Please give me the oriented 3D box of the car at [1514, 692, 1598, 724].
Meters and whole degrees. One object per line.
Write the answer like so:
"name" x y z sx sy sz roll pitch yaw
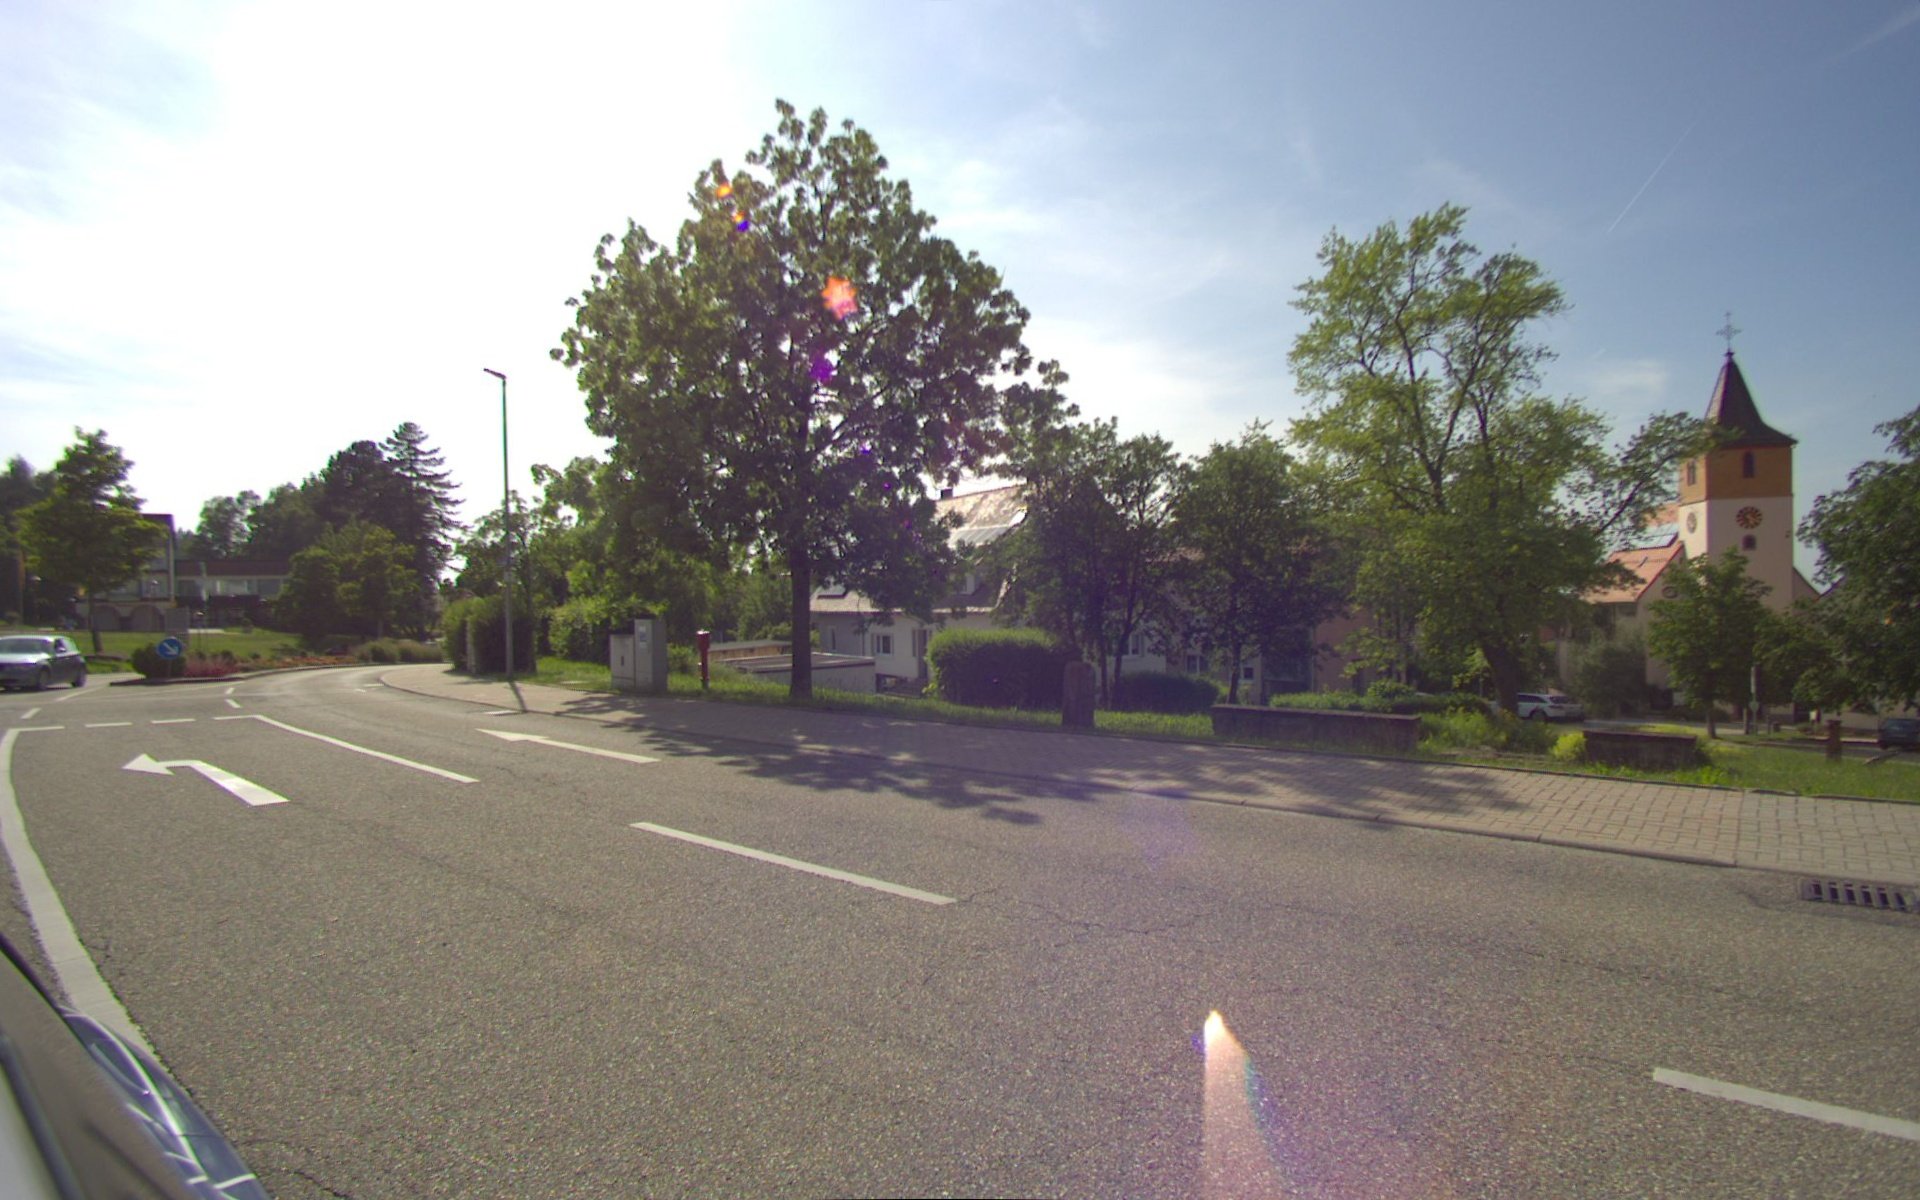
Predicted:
"car" 36.055 6.519 61.301 1.970 1.676 4.003 4 -4 -44

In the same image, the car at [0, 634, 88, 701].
"car" -24.118 1.683 25.852 1.871 1.519 4.012 4 -3 -28

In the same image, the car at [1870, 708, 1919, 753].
"car" 40.277 5.468 42.661 3.933 1.630 2.005 3 -3 -35

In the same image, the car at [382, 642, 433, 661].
"car" -51.701 4.813 94.688 3.972 1.630 1.986 1 -3 21

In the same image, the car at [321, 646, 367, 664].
"car" -53.907 4.767 88.578 3.284 1.415 1.705 1 -2 17

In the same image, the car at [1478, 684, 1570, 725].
"car" 30.967 5.693 55.608 1.970 2.029 4.003 4 -4 -44
